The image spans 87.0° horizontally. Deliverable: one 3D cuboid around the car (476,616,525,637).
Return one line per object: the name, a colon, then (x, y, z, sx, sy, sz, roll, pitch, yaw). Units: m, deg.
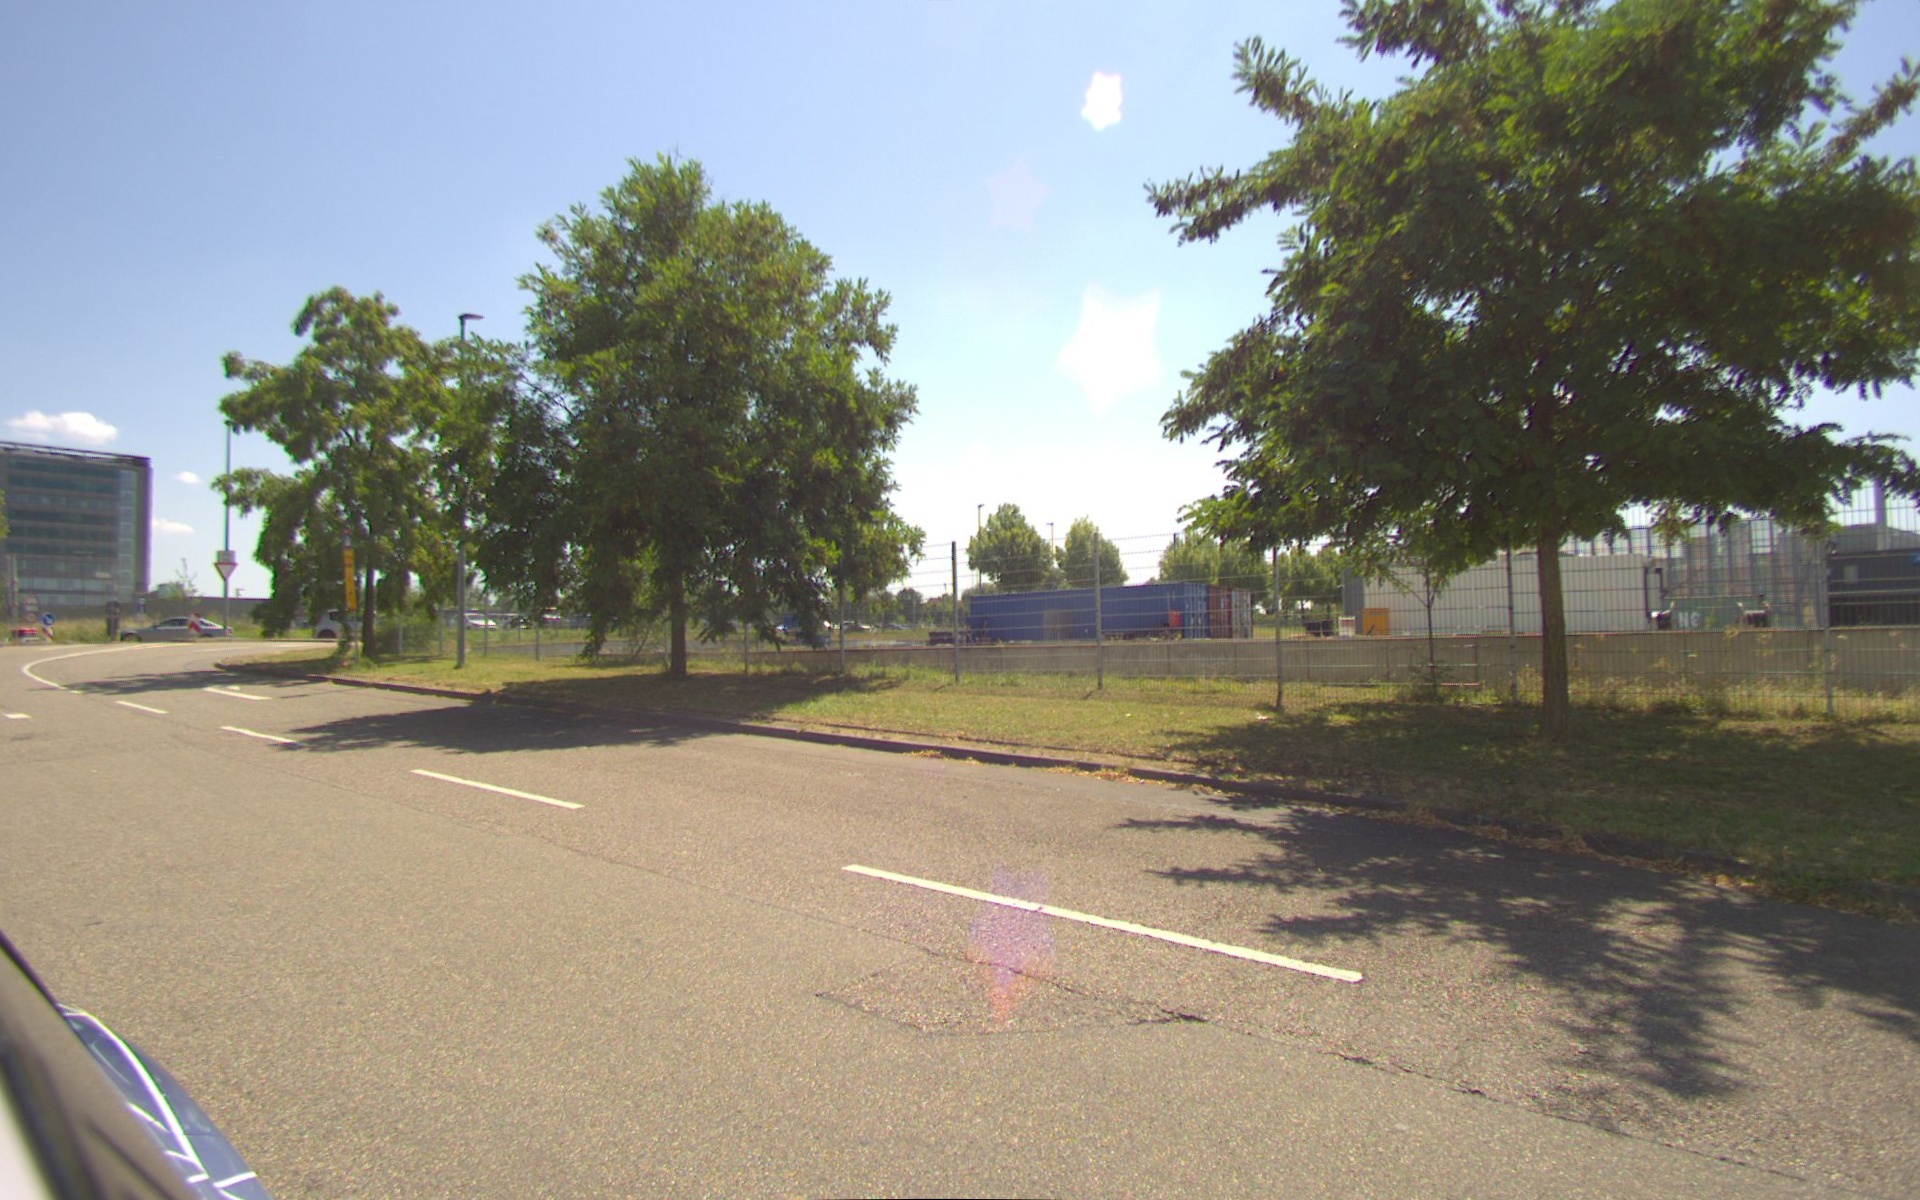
car: (-29.263, 1.711, 64.437, 3.267, 1.191, 1.482, -4, -2, 39)

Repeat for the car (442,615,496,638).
car: (-30.351, 1.644, 62.533, 3.874, 1.307, 1.554, -4, -2, 40)

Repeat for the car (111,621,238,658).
car: (-35.838, 1.798, 46.304, 4.421, 1.385, 1.678, -2, -4, -33)
